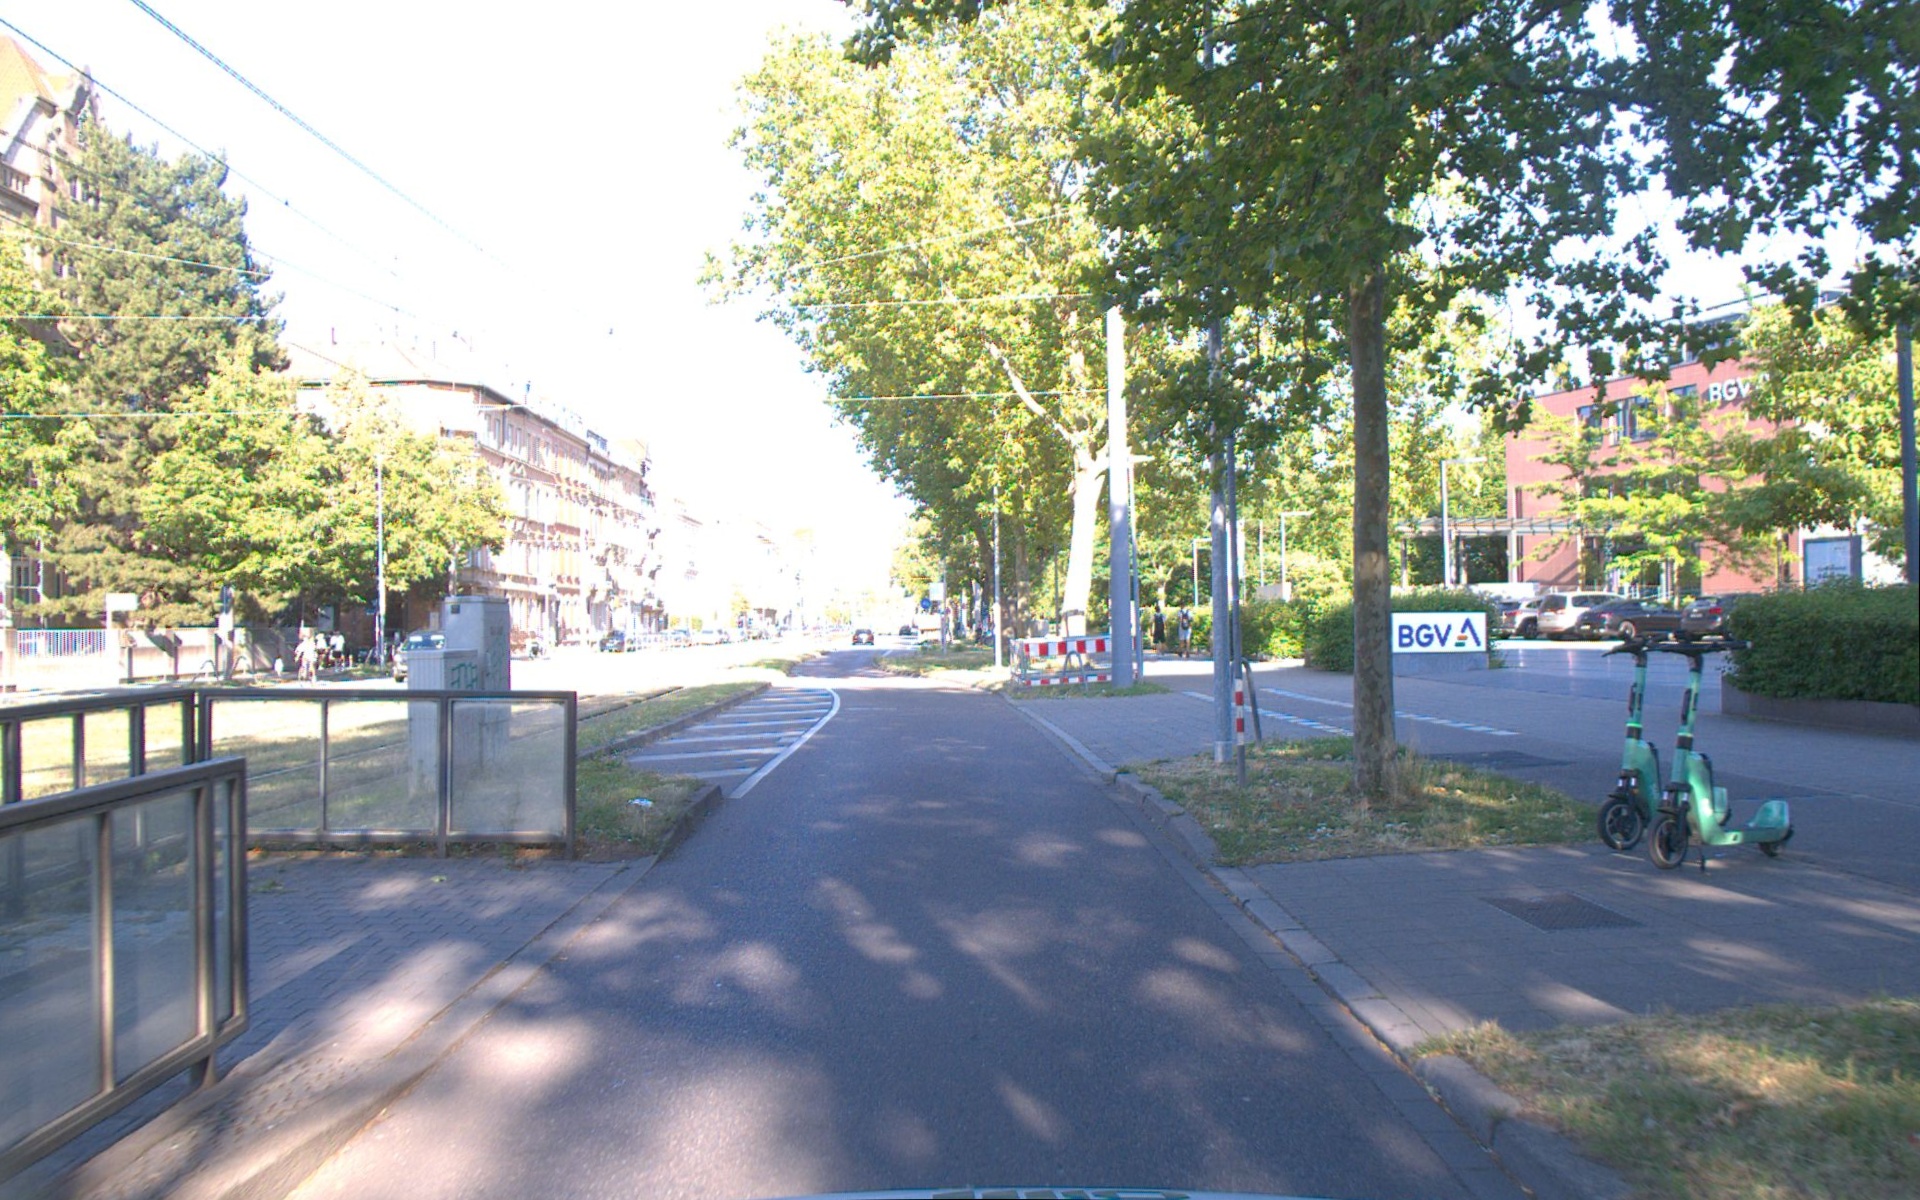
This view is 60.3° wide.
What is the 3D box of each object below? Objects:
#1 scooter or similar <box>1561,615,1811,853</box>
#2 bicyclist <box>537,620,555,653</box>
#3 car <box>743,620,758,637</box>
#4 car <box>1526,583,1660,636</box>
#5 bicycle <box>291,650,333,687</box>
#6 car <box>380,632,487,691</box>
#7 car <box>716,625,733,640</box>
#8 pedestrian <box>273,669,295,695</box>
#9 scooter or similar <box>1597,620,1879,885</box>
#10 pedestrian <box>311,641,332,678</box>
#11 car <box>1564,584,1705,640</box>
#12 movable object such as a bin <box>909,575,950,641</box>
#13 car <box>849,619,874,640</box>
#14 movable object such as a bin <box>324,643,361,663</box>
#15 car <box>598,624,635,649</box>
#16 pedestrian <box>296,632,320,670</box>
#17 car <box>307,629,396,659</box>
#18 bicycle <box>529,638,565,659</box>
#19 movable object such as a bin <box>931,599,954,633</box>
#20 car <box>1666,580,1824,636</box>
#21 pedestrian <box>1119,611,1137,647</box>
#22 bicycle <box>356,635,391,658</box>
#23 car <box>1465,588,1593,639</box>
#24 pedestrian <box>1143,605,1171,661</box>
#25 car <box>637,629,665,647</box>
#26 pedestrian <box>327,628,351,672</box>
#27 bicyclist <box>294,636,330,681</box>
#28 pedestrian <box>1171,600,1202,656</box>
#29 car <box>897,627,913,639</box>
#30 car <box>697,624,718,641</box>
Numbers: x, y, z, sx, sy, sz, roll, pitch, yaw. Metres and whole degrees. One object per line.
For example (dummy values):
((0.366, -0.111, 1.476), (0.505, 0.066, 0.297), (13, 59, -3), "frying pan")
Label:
((4.127, 0.740, 9.477), (1.030, 1.266, 0.841), (-2, -1, 1), "scooter or similar")
((-23.368, 2.048, 93.341), (0.904, 1.745, 0.763), (-2, 3, -16), "bicyclist")
((-27.751, 3.764, 219.422), (1.624, 2.177, 3.524), (1, 0, -2), "car")
((23.373, 0.346, 61.064), (4.606, 1.743, 1.836), (-2, 0, -22), "car")
((-21.978, 2.321, 56.140), (0.759, 1.214, 1.755), (1, -1, -1), "bicycle")
((-18.585, 2.156, 58.603), (1.897, 1.952, 4.475), (2, -2, 6), "car")
((-26.258, 3.581, 184.736), (1.496, 1.588, 3.222), (1, 0, -2), "car")
((-26.476, 3.207, 64.771), (0.637, 0.948, 0.584), (-2, -1, -5), "pedestrian")
((4.000, 0.758, 8.581), (1.030, 1.266, 0.841), (-2, -1, 1), "scooter or similar")
((-28.291, 2.642, 73.272), (0.605, 1.621, 0.797), (1, -1, -3), "pedestrian")
((23.703, 0.409, 58.158), (4.606, 1.743, 1.836), (-2, 0, -22), "car")
((-2.600, 0.697, 139.003), (3.025, 5.177, 8.888), (-4, -1, -2), "movable object such as a bin")
((-8.204, 2.482, 138.142), (1.953, 1.713, 3.999), (1, -1, -1), "car")
((-27.766, 2.366, 74.373), (1.220, 0.880, 1.236), (1, -1, -3), "movable object such as a bin")
((-25.773, 2.720, 124.273), (1.975, 1.784, 4.556), (1, 0, -2), "car")
((-27.317, 2.134, 69.304), (0.637, 1.566, 0.783), (-2, -1, -3), "pedestrian")
((-30.830, 2.238, 83.768), (4.097, 1.497, 1.997), (-1, -2, 28), "car")
((-23.309, 2.741, 93.393), (1.921, 1.058, 0.763), (-2, 4, -16), "bicycle")
((-1.720, 1.559, 161.186), (1.929, 3.065, 4.794), (-4, -1, -2), "movable object such as a bin")
((25.767, 0.251, 54.332), (4.603, 1.626, 2.060), (-2, 0, -20), "car")
((7.378, 1.261, 72.748), (0.636, 1.566, 0.783), (-2, -1, -1), "pedestrian")
((-32.526, 2.569, 91.751), (0.768, 1.199, 2.242), (1, -1, 10), "bicycle")
((21.984, 0.504, 63.877), (4.606, 1.743, 1.836), (-2, 0, -22), "car")
((6.616, 1.100, 55.493), (0.735, 1.825, 1.086), (-2, -1, -1), "pedestrian")
((-25.908, 3.188, 138.763), (1.740, 1.431, 3.908), (1, 0, -2), "car")
((-25.679, 2.056, 68.438), (0.637, 1.806, 0.888), (-2, -1, -3), "pedestrian")
((-21.970, 1.977, 56.096), (0.759, 1.507, 1.133), (1, -1, -2), "bicyclist")
((7.625, 0.945, 55.660), (0.789, 1.825, 1.109), (-2, -1, -1), "pedestrian")
((-8.504, 5.057, 254.961), (1.956, 1.892, 3.993), (1, -1, -8), "car")
((-26.633, 3.418, 174.424), (1.706, 1.588, 3.766), (1, 0, -2), "car")
